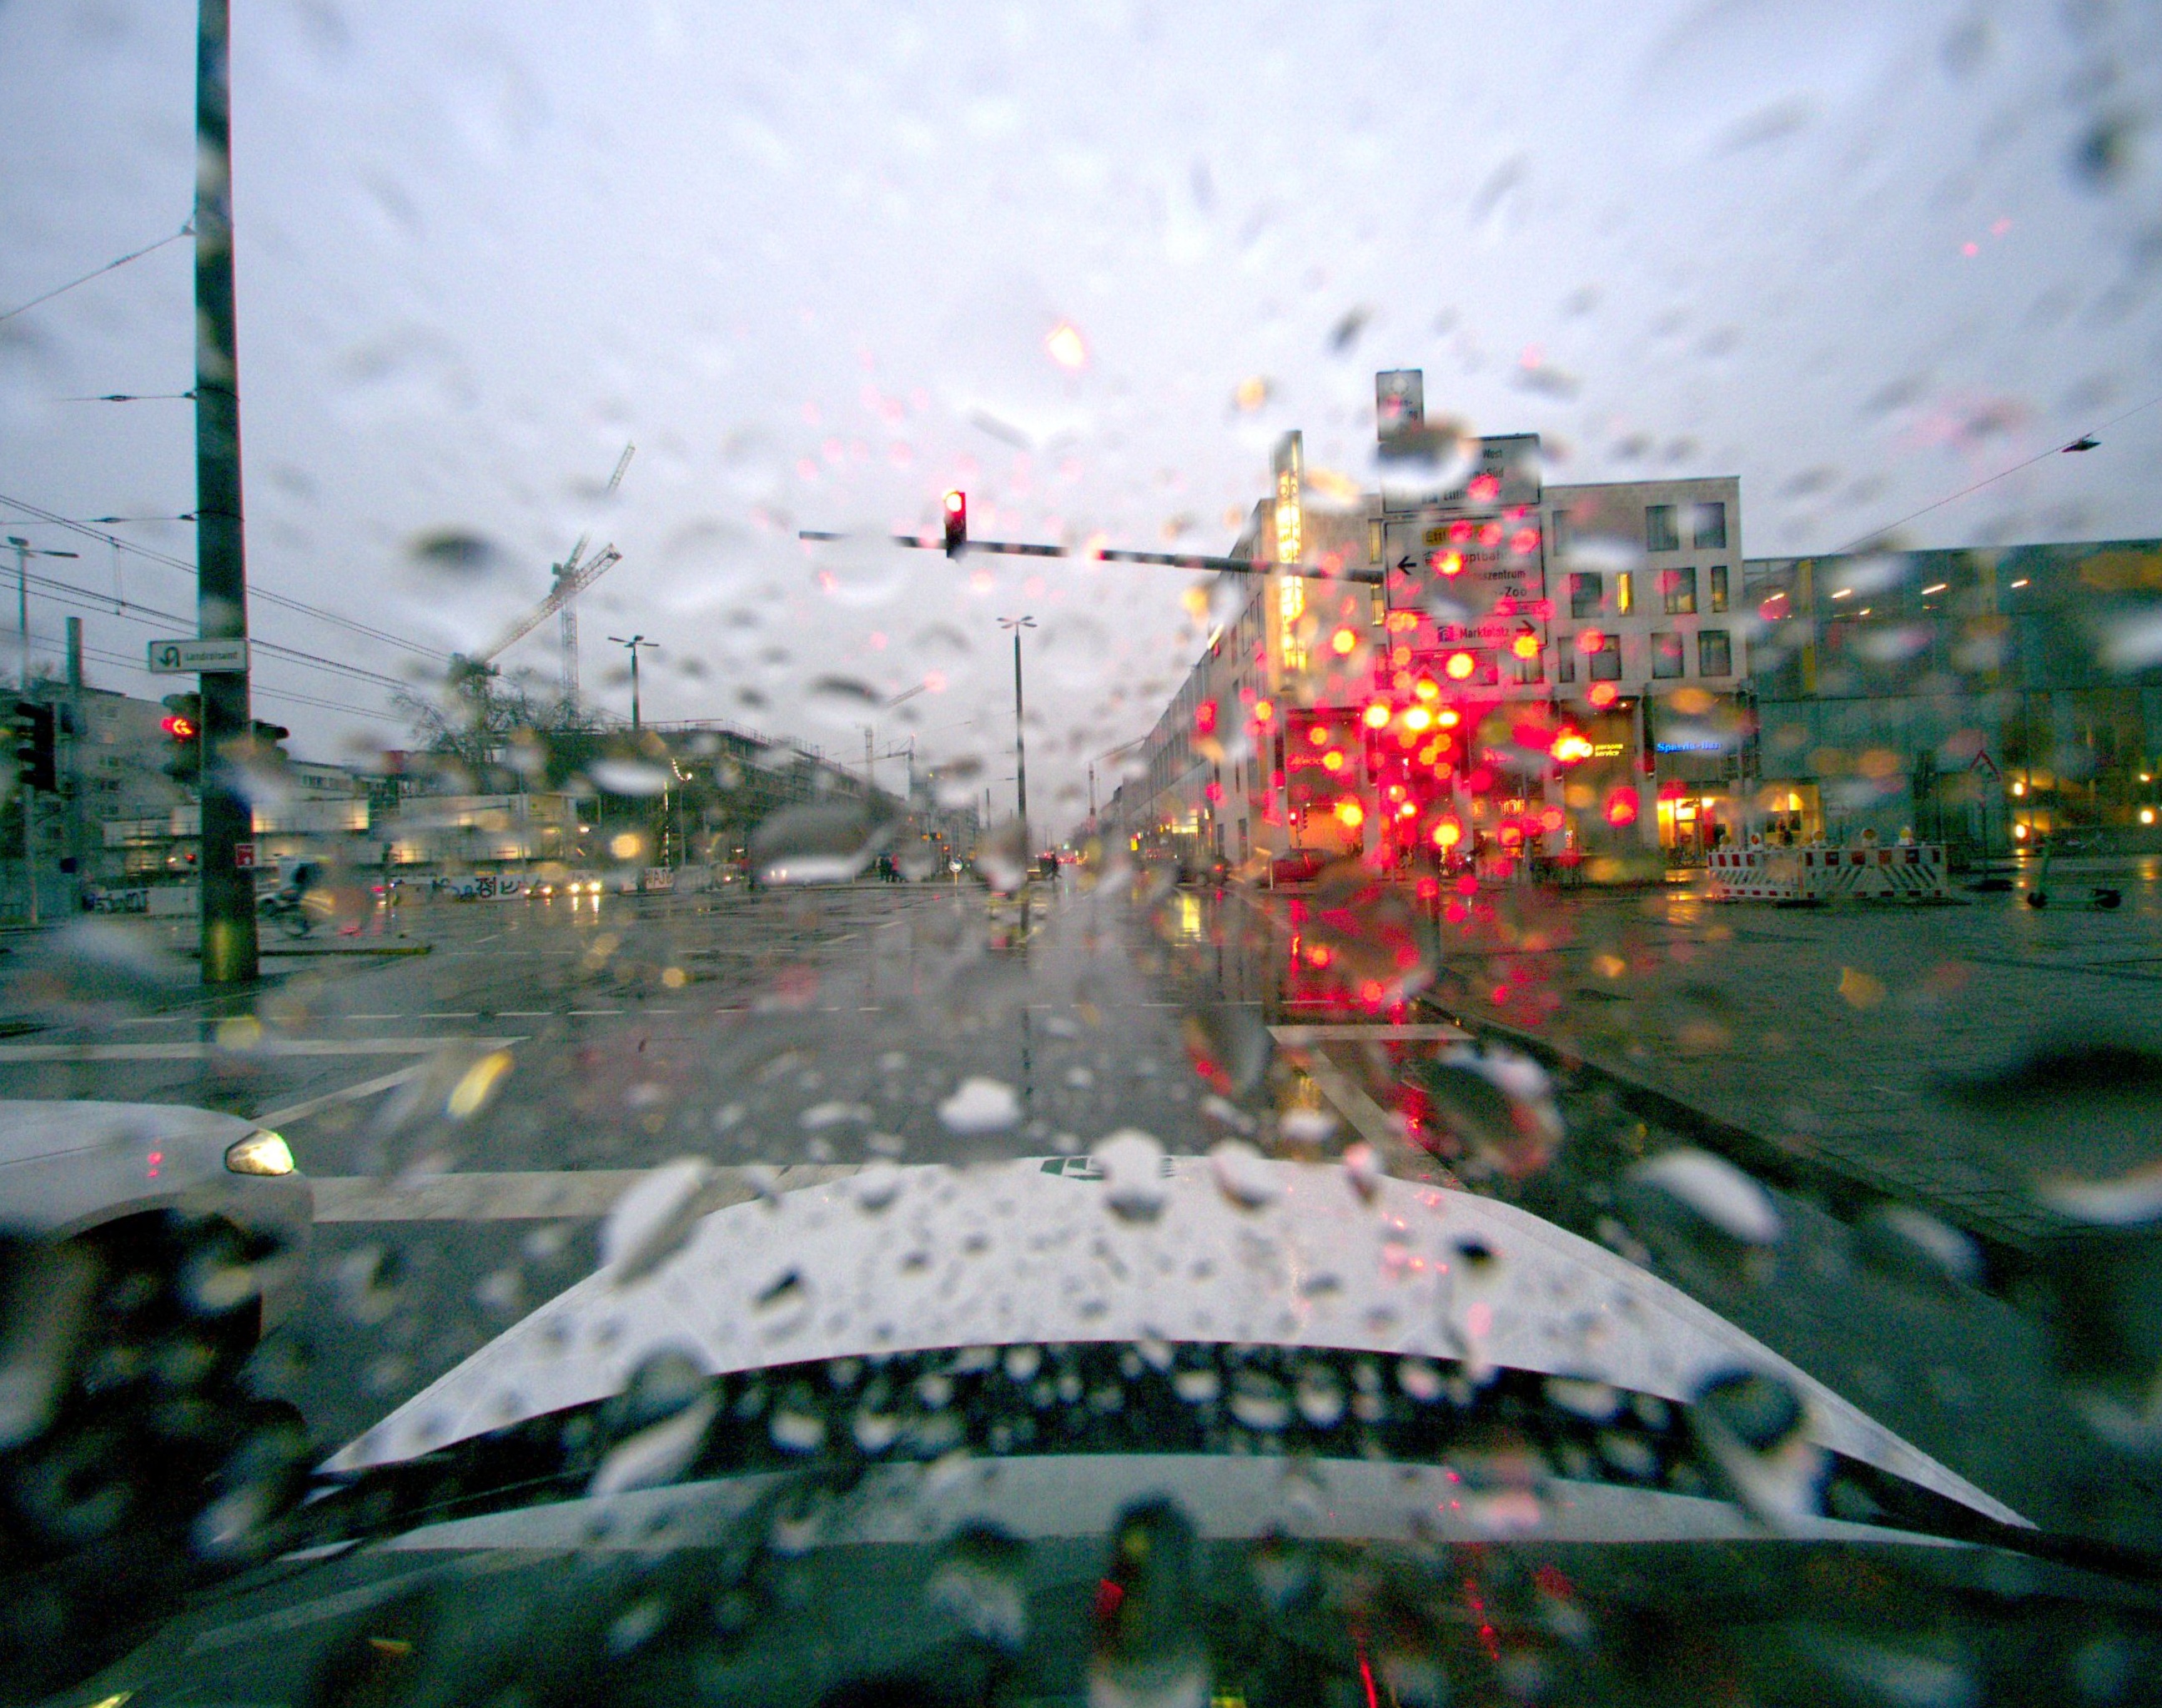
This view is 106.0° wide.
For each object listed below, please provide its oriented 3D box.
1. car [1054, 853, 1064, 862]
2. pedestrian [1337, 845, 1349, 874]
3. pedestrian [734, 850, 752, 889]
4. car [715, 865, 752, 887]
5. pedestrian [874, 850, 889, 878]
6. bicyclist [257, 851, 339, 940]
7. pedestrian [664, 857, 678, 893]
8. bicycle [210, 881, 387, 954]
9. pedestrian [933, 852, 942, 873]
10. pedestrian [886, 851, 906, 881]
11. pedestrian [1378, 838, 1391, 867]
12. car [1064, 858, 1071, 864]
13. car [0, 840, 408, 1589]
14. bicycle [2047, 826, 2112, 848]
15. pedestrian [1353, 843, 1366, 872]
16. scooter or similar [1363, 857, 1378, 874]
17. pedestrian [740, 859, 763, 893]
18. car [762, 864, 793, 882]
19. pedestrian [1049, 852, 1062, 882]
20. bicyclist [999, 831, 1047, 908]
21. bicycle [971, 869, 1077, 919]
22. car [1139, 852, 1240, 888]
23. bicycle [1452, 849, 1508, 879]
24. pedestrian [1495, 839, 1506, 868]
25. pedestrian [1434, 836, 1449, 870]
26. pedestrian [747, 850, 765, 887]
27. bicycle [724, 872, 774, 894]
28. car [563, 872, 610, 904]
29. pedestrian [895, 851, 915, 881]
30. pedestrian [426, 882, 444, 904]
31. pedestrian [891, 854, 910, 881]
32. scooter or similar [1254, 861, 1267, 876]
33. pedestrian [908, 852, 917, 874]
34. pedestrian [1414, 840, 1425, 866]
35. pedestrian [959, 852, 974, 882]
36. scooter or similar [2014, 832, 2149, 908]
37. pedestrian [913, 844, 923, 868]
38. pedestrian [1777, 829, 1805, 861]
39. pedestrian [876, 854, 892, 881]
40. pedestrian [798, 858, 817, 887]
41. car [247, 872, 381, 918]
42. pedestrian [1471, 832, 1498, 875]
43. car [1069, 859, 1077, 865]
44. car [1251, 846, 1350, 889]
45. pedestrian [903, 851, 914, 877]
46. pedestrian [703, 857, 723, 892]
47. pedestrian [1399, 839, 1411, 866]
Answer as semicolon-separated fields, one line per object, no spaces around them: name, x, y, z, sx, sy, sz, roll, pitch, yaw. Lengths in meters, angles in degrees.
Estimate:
car;-5.223;0.828;194.092;1.986;2.014;4.001;-1;-1;2
pedestrian;16.055;0.337;49.912;0.530;1.718;0.505;-3;-1;39
pedestrian;-18.384;0.849;44.268;0.691;2.087;0.606;-2;-1;-39
car;-34.791;2.197;81.583;1.988;2.013;3.997;-2;0;-2
pedestrian;-12.964;0.658;52.965;0.613;1.746;0.617;-2;-1;29
bicyclist;-16.979;0.883;17.678;0.993;1.839;0.719;-3;-1;-8
pedestrian;-23.791;1.213;47.301;0.507;2.013;0.638;-2;-1;-9
bicycle;-16.945;1.351;17.699;2.829;1.362;0.719;-3;-1;-8
pedestrian;-12.333;0.727;69.984;0.660;1.746;0.619;-2;-1;-9
pedestrian;-10.538;0.688;46.451;0.824;1.679;0.622;-2;-1;17
pedestrian;18.031;-0.078;48.306;0.530;1.718;0.505;-3;-1;39
car;-3.981;2.026;241.646;1.881;1.783;3.715;-1;-1;2
car;-3.186;0.760;0.180;1.903;1.520;4.923;-2;0;0
bicycle;48.589;-0.817;39.664;0.613;1.033;2.138;-2;0;3
pedestrian;17.086;0.219;49.911;0.530;1.718;0.505;-3;-1;39
scooter or similar;17.190;0.678;48.306;0.738;0.993;0.401;-2;-1;3
pedestrian;-15.604;1.053;38.582;0.812;1.570;0.536;-2;-1;0
car;-35.638;2.229;95.800;1.986;2.013;4.002;-2;0;2
pedestrian;-1.495;0.763;47.797;0.631;1.772;0.484;-2;-1;0
bicyclist;-1.350;0.354;18.872;1.031;1.697;0.616;-2;-1;-5
bicycle;-1.322;0.916;18.860;2.369;1.033;0.616;-2;-1;-6
car;5.082;0.768;38.523;4.493;1.574;1.808;-2;0;43
bicycle;15.391;0.377;31.428;1.831;1.093;0.620;-2;-1;16
pedestrian;25.406;-0.046;49.361;0.507;1.760;0.376;-2;-1;21
pedestrian;18.368;-0.061;41.476;0.530;1.685;0.552;-3;-1;39
pedestrian;-18.013;0.824;45.133;0.781;2.013;0.606;-2;-1;-37
bicycle;-15.743;1.379;38.619;2.121;0.992;0.541;-2;-5;1
car;-33.728;2.274;55.636;1.760;2.013;3.977;-2;0;-17
pedestrian;-10.193;0.681;47.070;0.835;1.688;0.681;-2;-1;24
pedestrian;-47.157;2.852;59.457;0.638;1.529;0.801;-3;-1;28
pedestrian;-11.035;0.852;49.798;0.802;1.607;0.750;-3;-1;45
scooter or similar;11.269;0.915;51.154;0.738;0.916;0.401;-2;-1;3
pedestrian;-13.252;0.715;64.054;0.610;1.746;0.620;-2;-1;-4
pedestrian;22.582;-0.090;54.307;0.530;1.718;0.505;-3;-1;39
pedestrian;-6.717;0.749;47.917;0.700;1.760;0.652;-2;-1;1
scooter or similar;15.833;0.240;12.930;0.603;1.130;1.236;-2;0;2
pedestrian;-12.343;0.165;61.536;0.660;1.746;0.733;-2;-1;-9
pedestrian;36.060;-0.456;41.368;0.791;1.631;0.709;-1;-1;1
pedestrian;-12.033;0.837;49.822;0.700;1.619;0.617;-3;-1;41
pedestrian;-15.768;1.042;46.918;0.701;1.619;0.684;-2;-1;19
car;-33.582;1.788;35.722;4.286;1.761;1.708;-2;0;2
pedestrian;15.527;-0.019;31.376;0.775;1.595;0.616;-2;-1;17
car;-2.225;2.217;228.534;1.881;1.783;3.715;-1;-1;2
car;8.957;0.557;33.420;3.558;1.582;1.676;-2;-1;-1
pedestrian;-11.471;0.668;54.194;0.617;1.746;0.612;-2;-1;-4
pedestrian;-21.477;1.194;47.522;0.792;2.013;0.745;-2;-1;-9
pedestrian;20.933;-0.092;52.566;0.530;1.718;0.505;-3;-1;39
